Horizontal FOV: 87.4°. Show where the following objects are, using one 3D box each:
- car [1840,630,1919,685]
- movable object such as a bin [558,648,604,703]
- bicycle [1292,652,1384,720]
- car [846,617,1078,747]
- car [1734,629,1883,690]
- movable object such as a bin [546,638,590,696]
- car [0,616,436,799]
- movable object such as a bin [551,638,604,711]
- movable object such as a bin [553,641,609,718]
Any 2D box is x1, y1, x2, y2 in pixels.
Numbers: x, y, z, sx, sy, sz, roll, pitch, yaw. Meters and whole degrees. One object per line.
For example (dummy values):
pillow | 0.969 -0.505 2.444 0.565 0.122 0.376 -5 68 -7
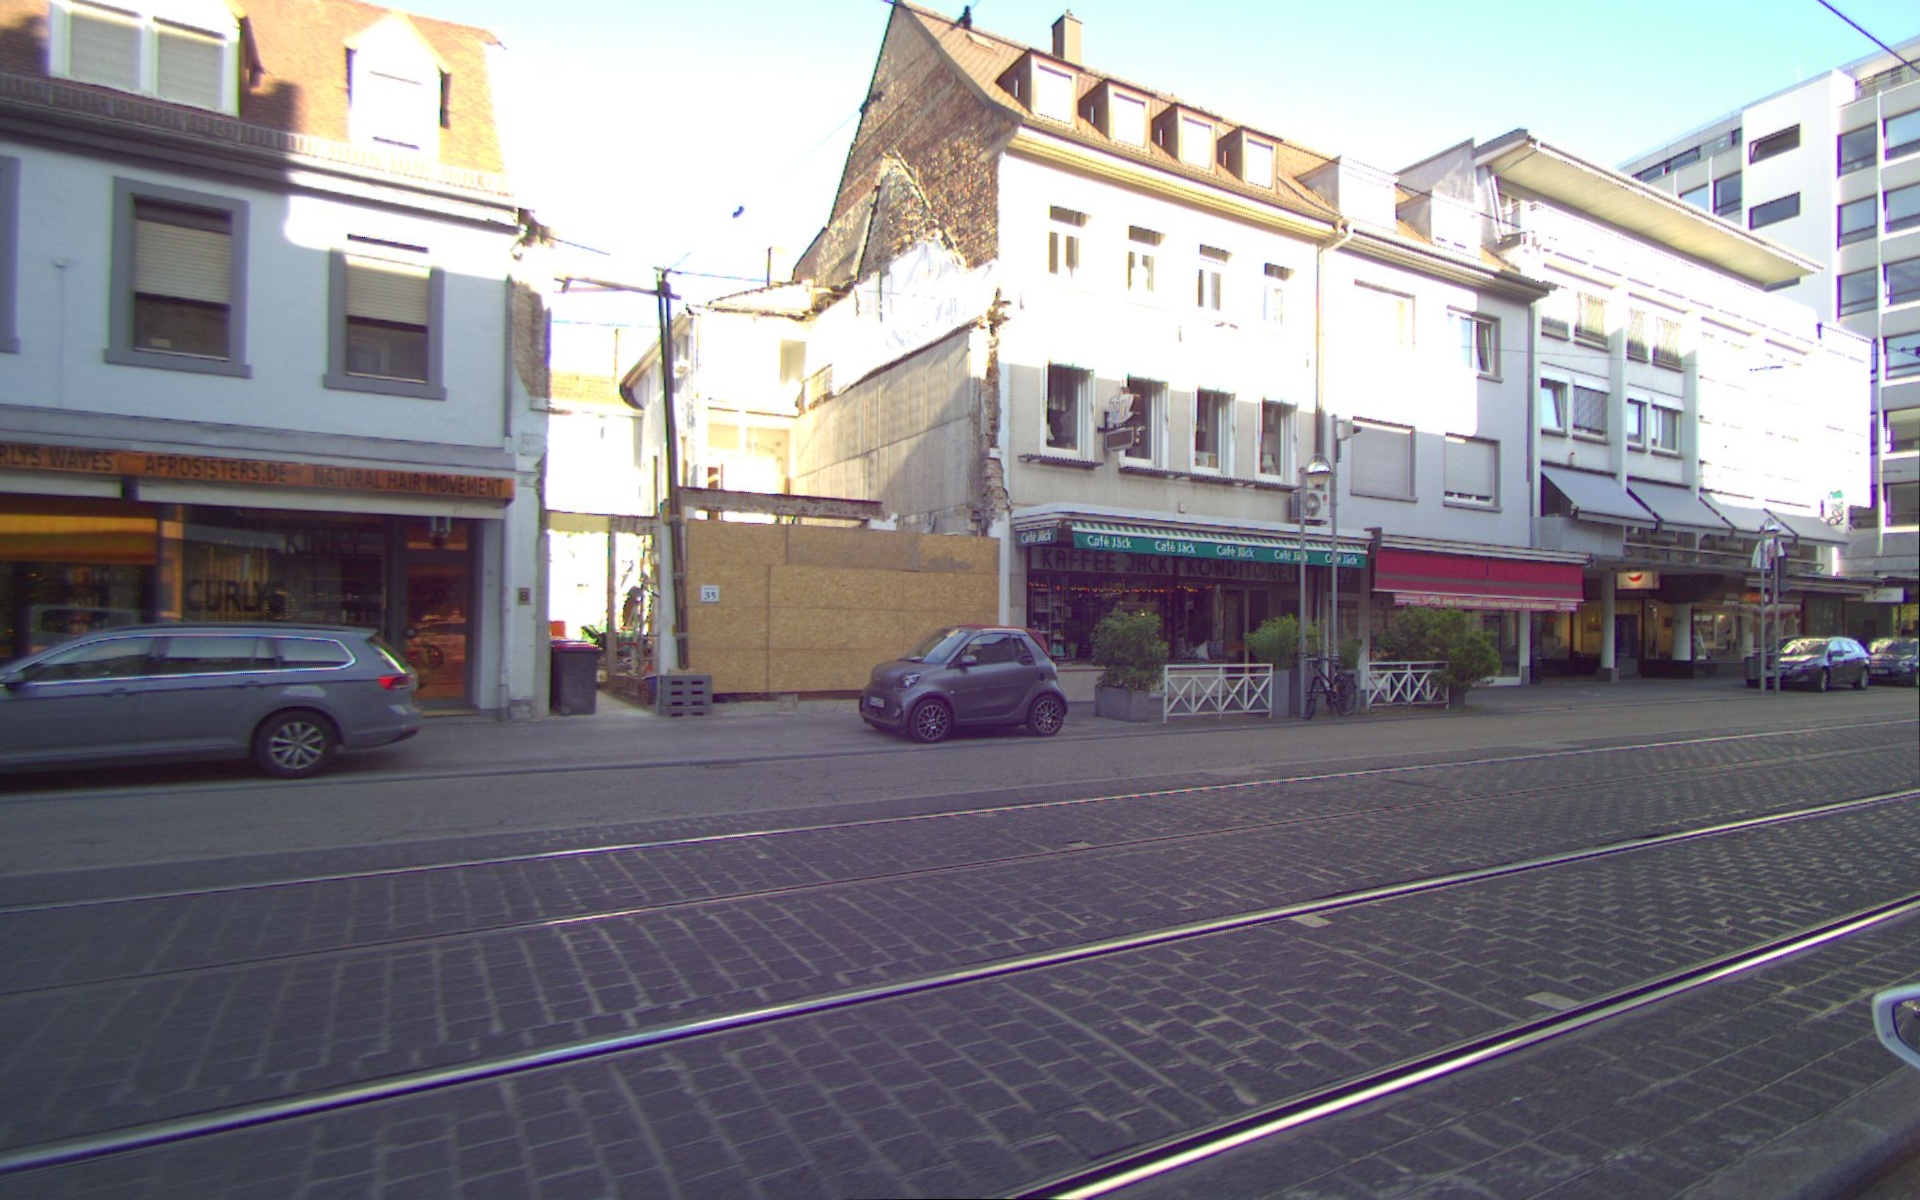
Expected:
car | 29.434 1.782 31.652 3.551 1.544 1.591 2 1 -33
movable object such as a bin | -6.531 1.290 17.321 0.637 0.894 0.596 2 1 -30
bicycle | 6.619 1.480 17.569 1.696 1.105 0.516 2 1 -30
car | 0.026 1.108 14.442 2.857 1.625 1.689 2 0 -30
car | 24.591 1.690 29.066 4.794 1.544 1.729 2 1 -30
movable object such as a bin | -7.058 1.196 18.063 0.637 1.001 0.596 2 1 -30
car | -7.828 0.962 9.835 4.707 1.534 1.808 2 -1 -30
movable object such as a bin | -6.173 1.189 16.198 0.689 1.108 0.657 2 1 -30
movable object such as a bin | -5.808 1.205 15.392 0.689 1.108 0.657 2 1 -30
